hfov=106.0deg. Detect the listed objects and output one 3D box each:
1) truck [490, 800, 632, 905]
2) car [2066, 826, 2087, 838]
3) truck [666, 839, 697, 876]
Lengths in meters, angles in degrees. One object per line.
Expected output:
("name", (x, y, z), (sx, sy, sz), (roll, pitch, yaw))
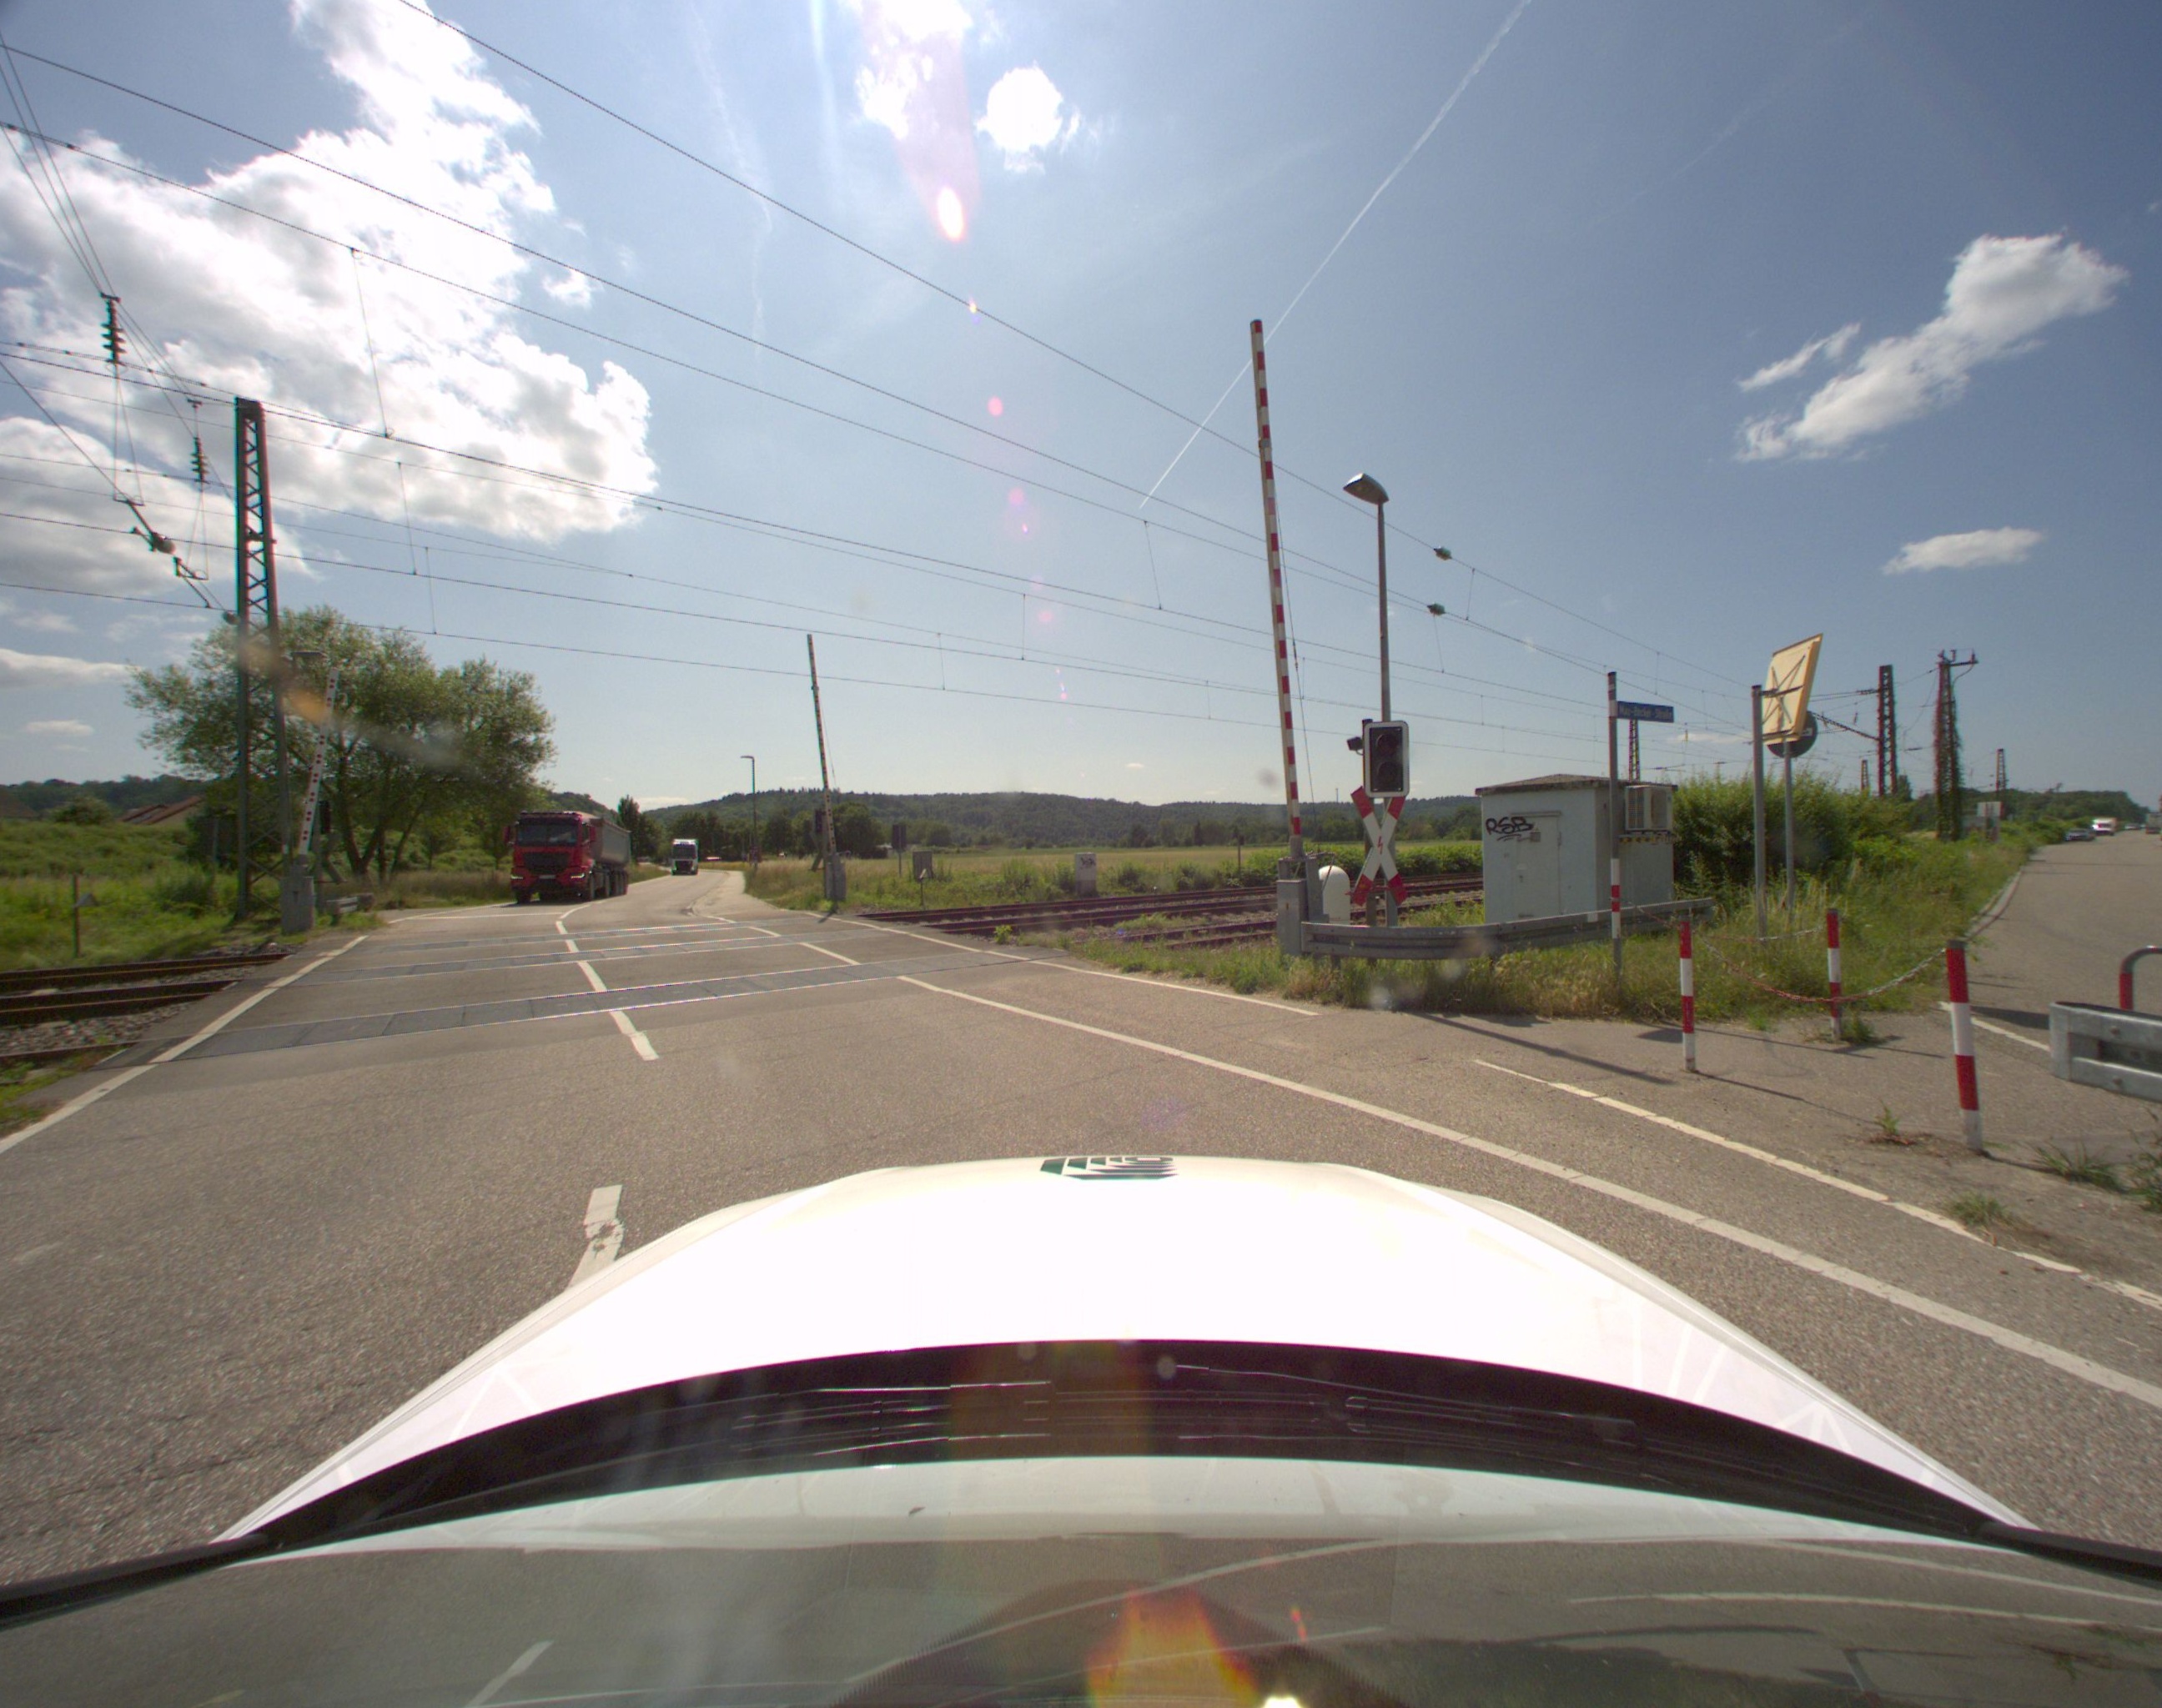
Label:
("truck", (-21.914, -0.058, 35.186), (2.883, 3.745, 12.060), (-1, 0, -22))
("car", (123.519, -2.701, 101.025), (2.916, 1.478, 1.632), (-2, 1, -38))
("truck", (-44.886, 0.362, 91.690), (2.582, 3.948, 5.994), (-2, 0, -22))
